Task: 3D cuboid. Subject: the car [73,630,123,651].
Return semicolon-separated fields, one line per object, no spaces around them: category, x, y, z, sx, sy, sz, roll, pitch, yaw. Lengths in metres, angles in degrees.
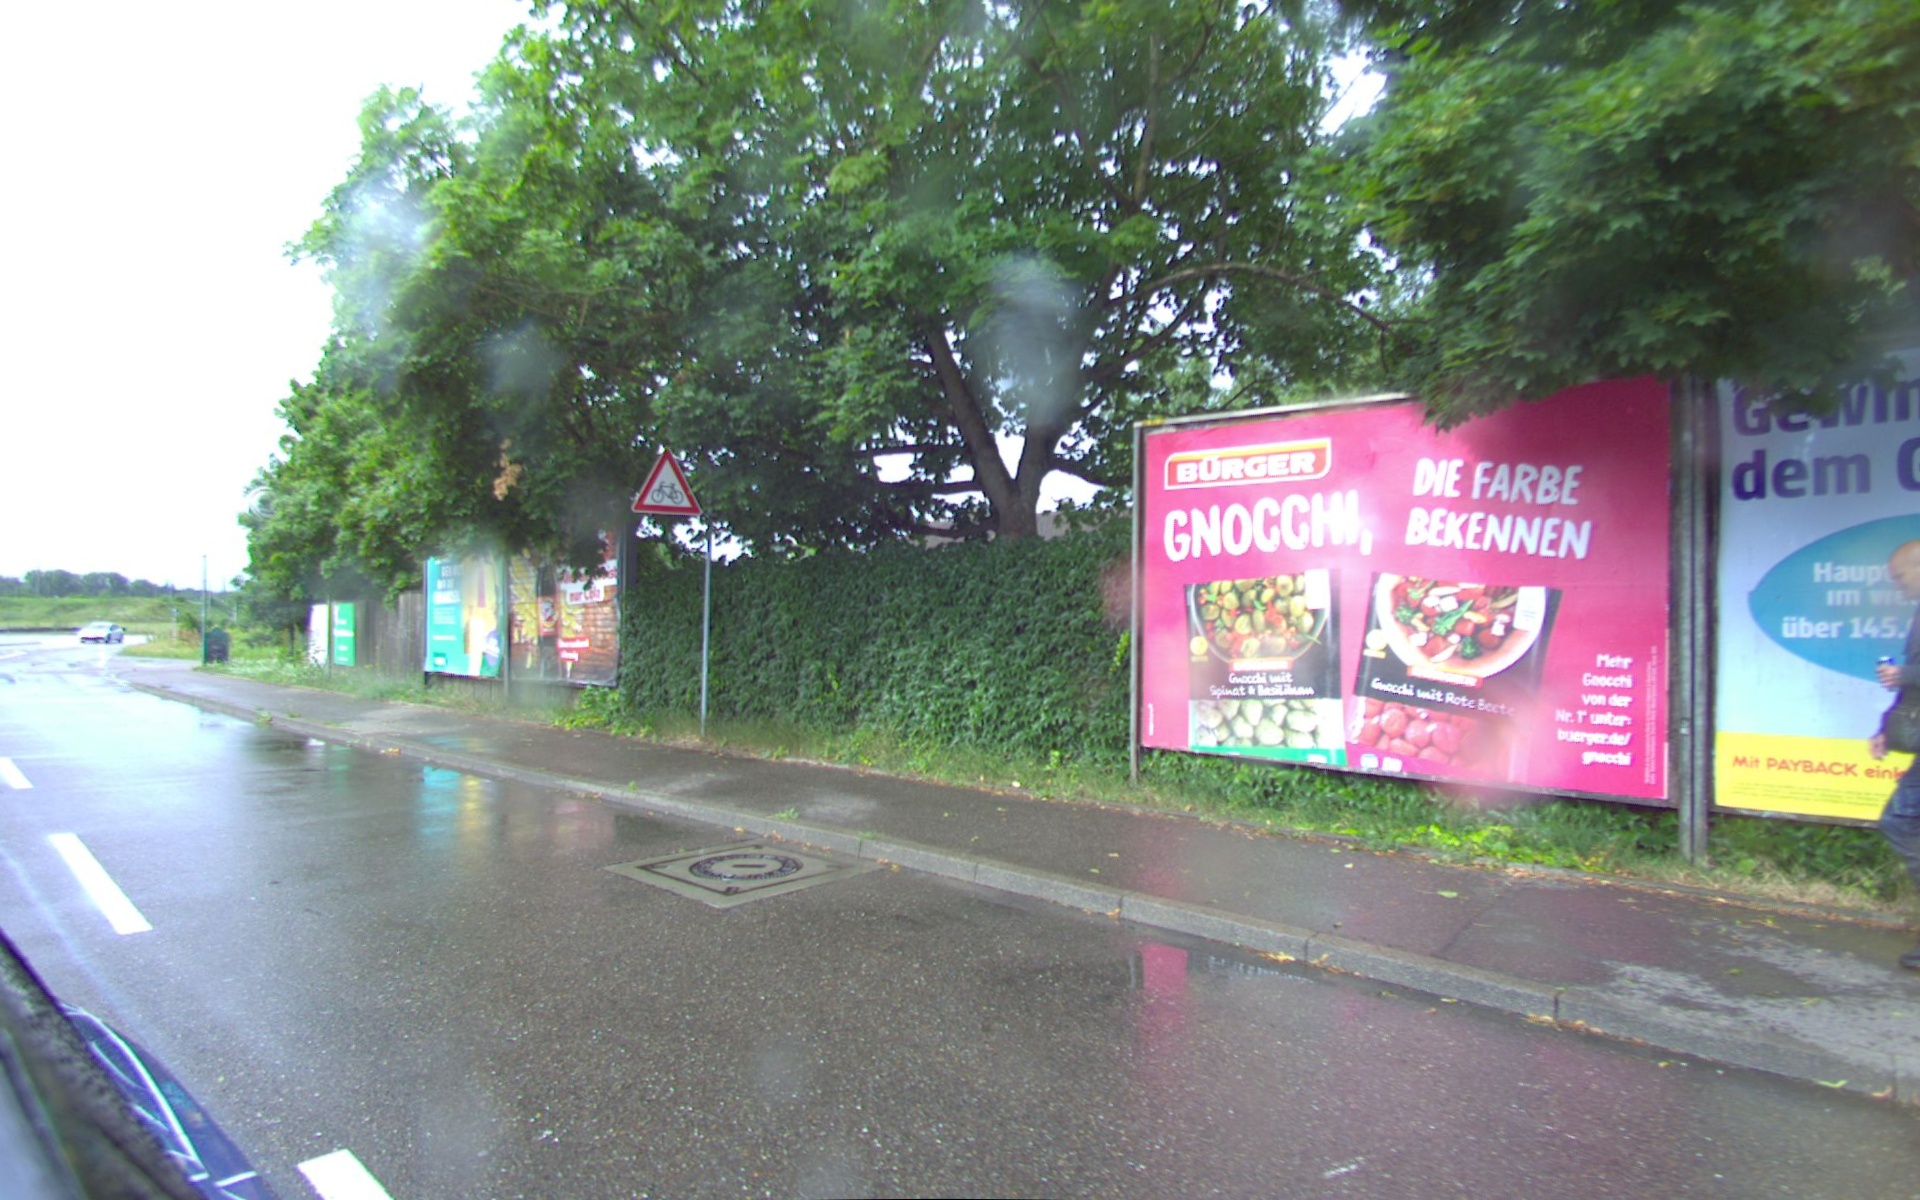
car;-67.768;3.160;79.605;1.767;1.645;3.830;0;-1;-21

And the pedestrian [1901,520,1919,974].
pedestrian;4.200;0.591;3.998;0.644;1.783;0.830;-1;-3;41
